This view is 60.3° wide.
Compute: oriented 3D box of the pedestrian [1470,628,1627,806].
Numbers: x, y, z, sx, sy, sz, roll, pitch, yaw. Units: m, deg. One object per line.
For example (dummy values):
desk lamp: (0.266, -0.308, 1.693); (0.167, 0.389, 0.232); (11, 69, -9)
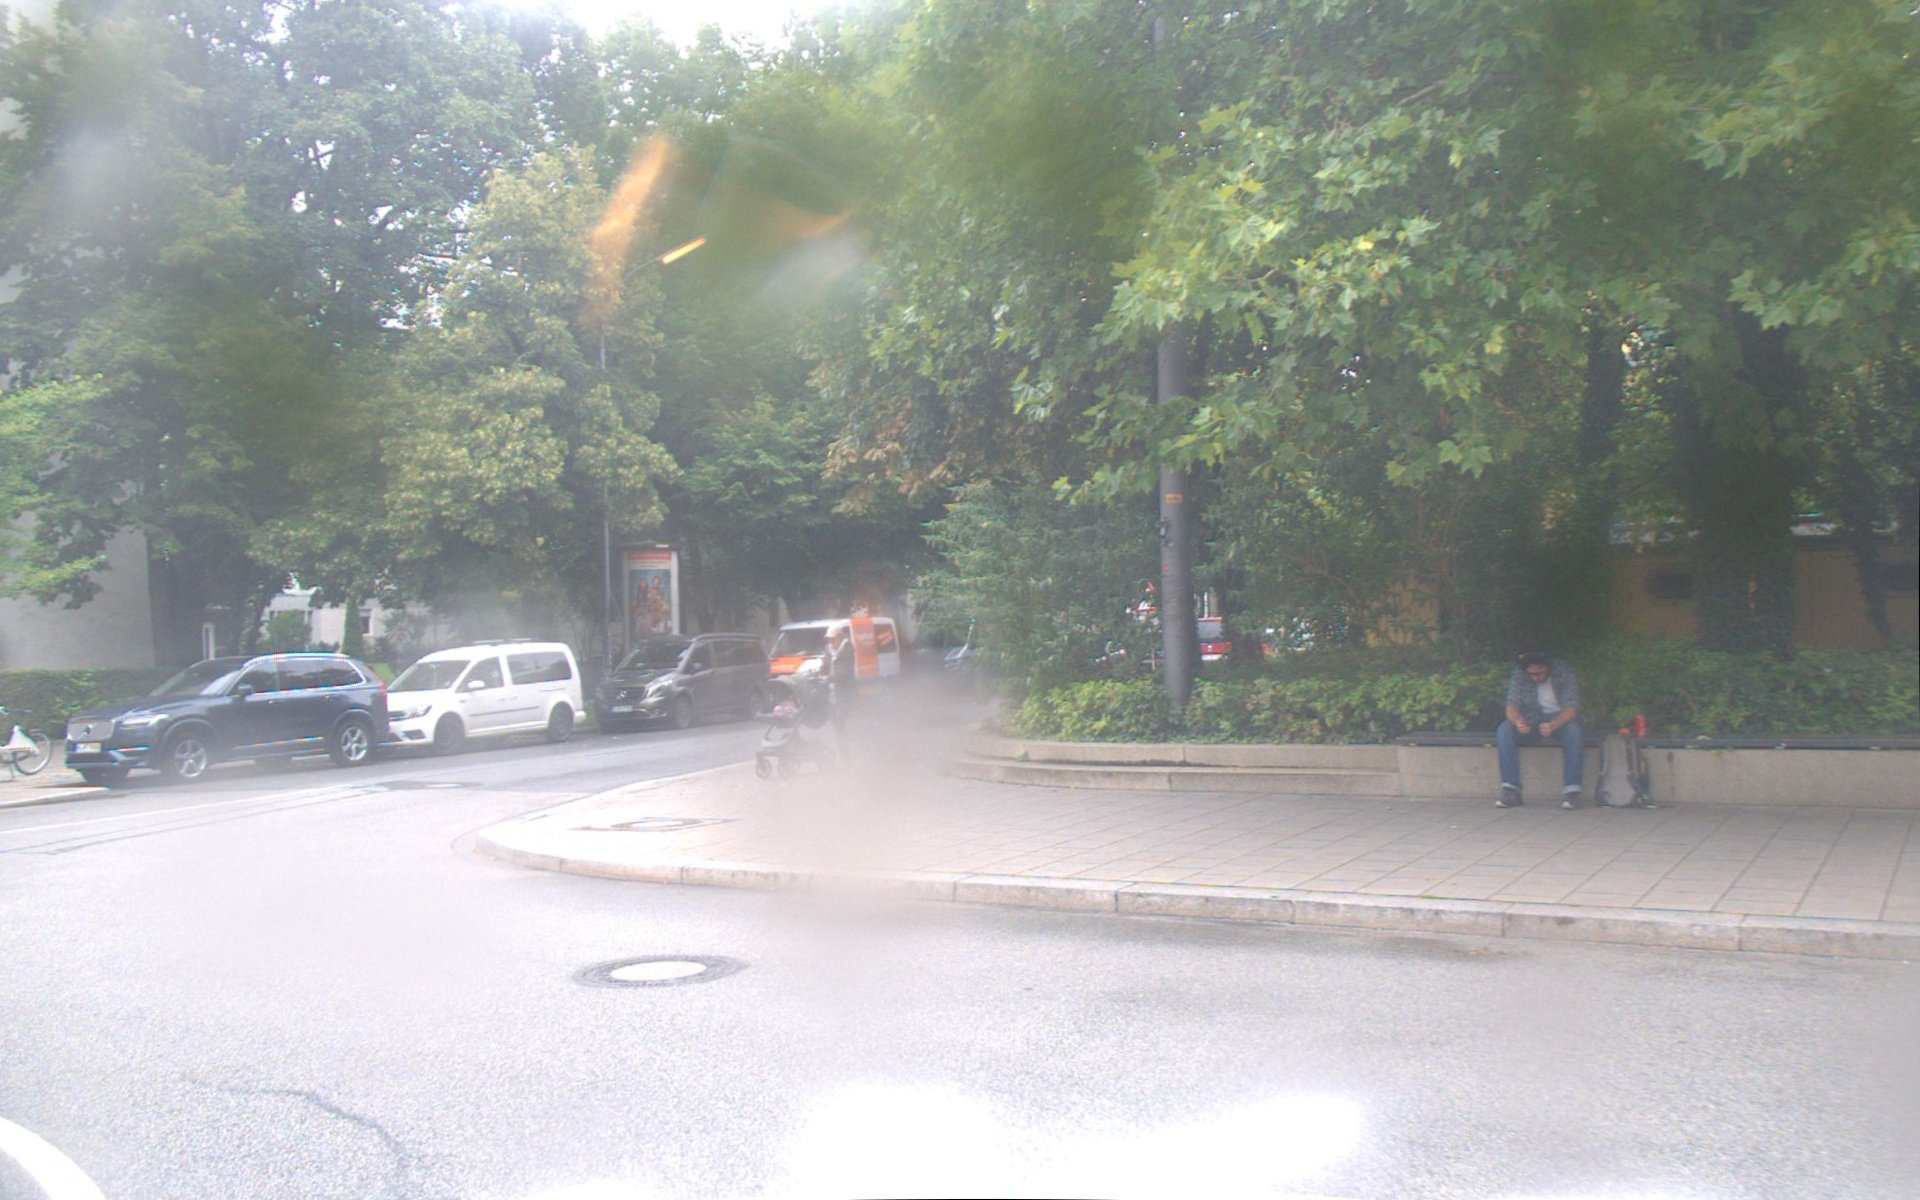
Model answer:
pedestrian: (4.260, 0.826, 11.956); (0.798, 1.210, 0.916); (-3, -2, 36)

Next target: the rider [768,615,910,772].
rider: (-1.390, 1.072, 19.067); (1.065, 1.696, 1.134); (-6, -4, 38)

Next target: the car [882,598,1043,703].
car: (0.189, 1.516, 50.717); (2.288, 2.973, 6.573); (-3, -2, 25)

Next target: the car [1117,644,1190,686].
car: (8.069, 2.683, 68.721); (1.857, 1.599, 4.072); (-2, -2, 24)

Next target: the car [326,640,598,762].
car: (-8.707, 1.720, 29.398); (1.887, 1.928, 4.865); (-2, -2, 24)

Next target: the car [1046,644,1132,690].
car: (4.776, 2.437, 60.806); (1.857, 1.565, 4.072); (-2, -2, 24)

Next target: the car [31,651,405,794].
car: (-10.760, 1.725, 24.411); (2.024, 1.798, 4.903); (-3, -2, 25)

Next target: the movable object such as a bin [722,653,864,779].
movable object such as a bin: (-1.859, 1.287, 18.422); (1.061, 1.289, 1.082); (-6, -4, 38)

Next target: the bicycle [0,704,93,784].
bicycle: (-13.701, 2.078, 23.848); (0.893, 1.070, 1.969); (-3, -2, 26)

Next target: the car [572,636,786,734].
car: (-5.920, 1.773, 35.479); (2.024, 1.891, 4.982); (-3, -2, 25)

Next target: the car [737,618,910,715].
car: (-3.382, 1.639, 42.227); (2.069, 2.291, 5.191); (-3, -2, 25)

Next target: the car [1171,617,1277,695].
car: (7.170, 1.474, 44.576); (1.999, 1.956, 4.447); (-2, -2, 19)
